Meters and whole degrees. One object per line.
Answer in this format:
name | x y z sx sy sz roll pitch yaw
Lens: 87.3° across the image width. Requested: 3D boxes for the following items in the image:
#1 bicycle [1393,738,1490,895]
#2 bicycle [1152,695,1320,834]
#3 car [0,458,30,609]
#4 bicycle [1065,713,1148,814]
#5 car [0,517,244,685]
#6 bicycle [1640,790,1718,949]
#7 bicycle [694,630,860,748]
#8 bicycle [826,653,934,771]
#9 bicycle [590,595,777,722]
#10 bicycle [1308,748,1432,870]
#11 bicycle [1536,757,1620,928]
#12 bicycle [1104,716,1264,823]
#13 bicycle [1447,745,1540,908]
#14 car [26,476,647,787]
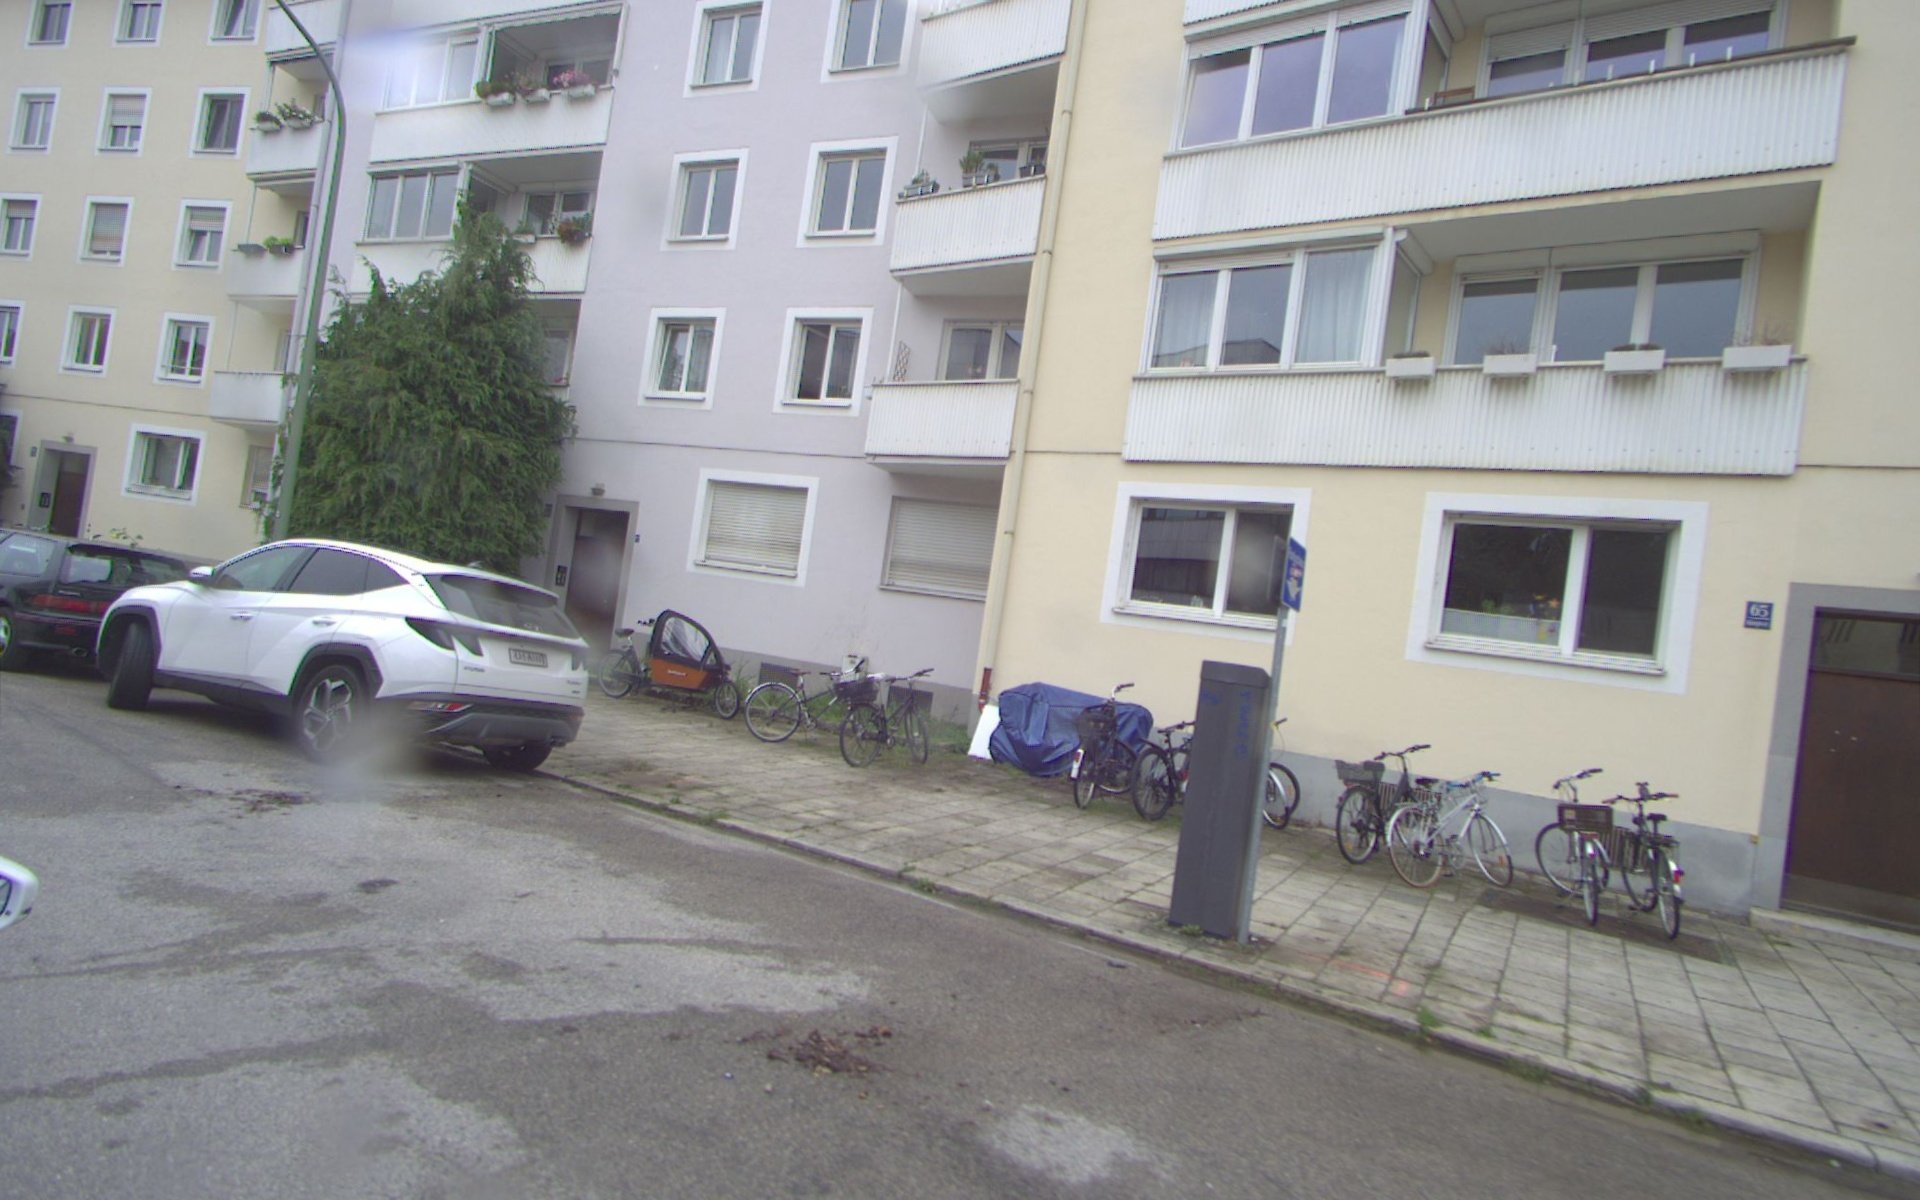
bicycle | 4.454 1.926 9.241 0.426 1.236 1.702 8 -1 34
bicycle | 2.842 1.697 10.282 1.686 1.236 0.429 9 -1 -28
car | -13.807 -1.023 12.262 4.434 2.103 1.756 8 -3 24
bicycle | 1.600 1.723 10.844 0.436 0.868 1.472 8 1 23
car | -9.614 -0.103 10.374 3.734 1.363 1.667 7 -4 20
bicycle | 5.975 2.187 8.406 0.362 1.047 1.702 8 -2 34
bicycle | -2.228 1.074 12.372 1.798 1.172 0.578 7 1 1
bicycle | -0.890 1.251 11.730 0.567 1.172 1.833 7 0 14
bicycle | -3.847 0.782 13.931 2.426 1.385 0.744 8 1 23
bicycle | 3.970 1.973 9.693 0.474 1.002 1.497 8 0 44
bicycle | 5.400 2.036 8.747 0.426 1.236 1.702 8 -1 34
bicycle | 2.378 1.795 10.581 1.687 0.953 0.429 9 -1 -29
bicycle | 4.802 1.960 9.001 0.426 1.236 1.702 8 -1 34
car | -5.235 0.228 8.475 4.529 1.695 2.036 8 -4 23
